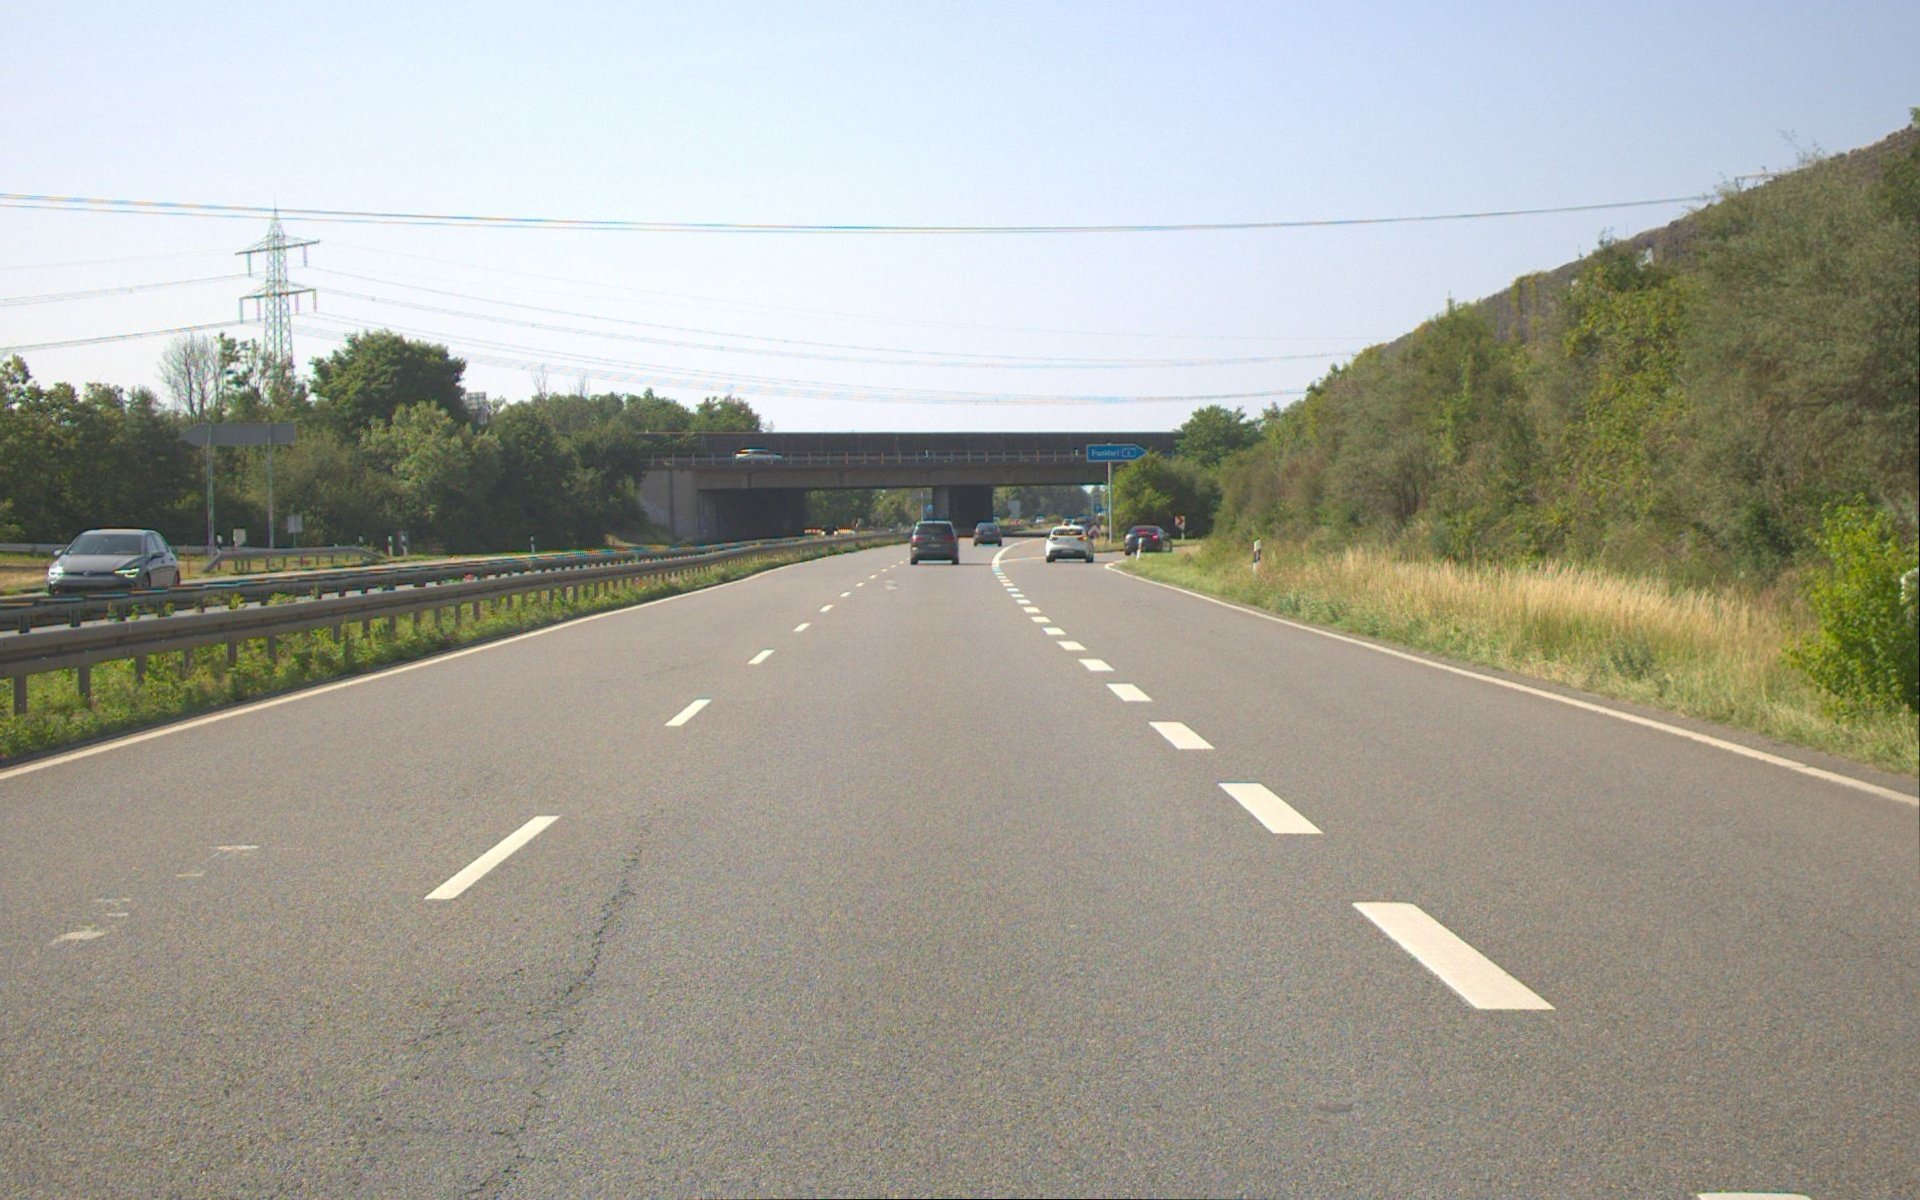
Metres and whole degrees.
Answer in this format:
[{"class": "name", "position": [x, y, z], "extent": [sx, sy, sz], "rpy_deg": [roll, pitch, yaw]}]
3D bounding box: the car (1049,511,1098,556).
[{"class": "car", "position": [4.486, -2.654, 135.590], "extent": [1.796, 1.659, 4.000], "rpy_deg": [2, 2, 3]}]

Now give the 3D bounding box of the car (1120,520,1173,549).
[{"class": "car", "position": [9.103, -3.205, 167.479], "extent": [1.903, 1.293, 3.998], "rpy_deg": [2, 2, 13]}]

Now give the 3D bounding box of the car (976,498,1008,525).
[{"class": "car", "position": [2.039, -5.582, 217.090], "extent": [1.850, 1.638, 4.000], "rpy_deg": [0, 1, 2]}]

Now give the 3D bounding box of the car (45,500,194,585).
[{"class": "car", "position": [-15.723, -1.111, 64.527], "extent": [1.700, 1.480, 4.621], "rpy_deg": [2, 2, -1]}]

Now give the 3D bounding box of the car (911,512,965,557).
[{"class": "car", "position": [-0.807, -2.472, 128.795], "extent": [1.850, 1.638, 4.000], "rpy_deg": [0, 1, 2]}]
